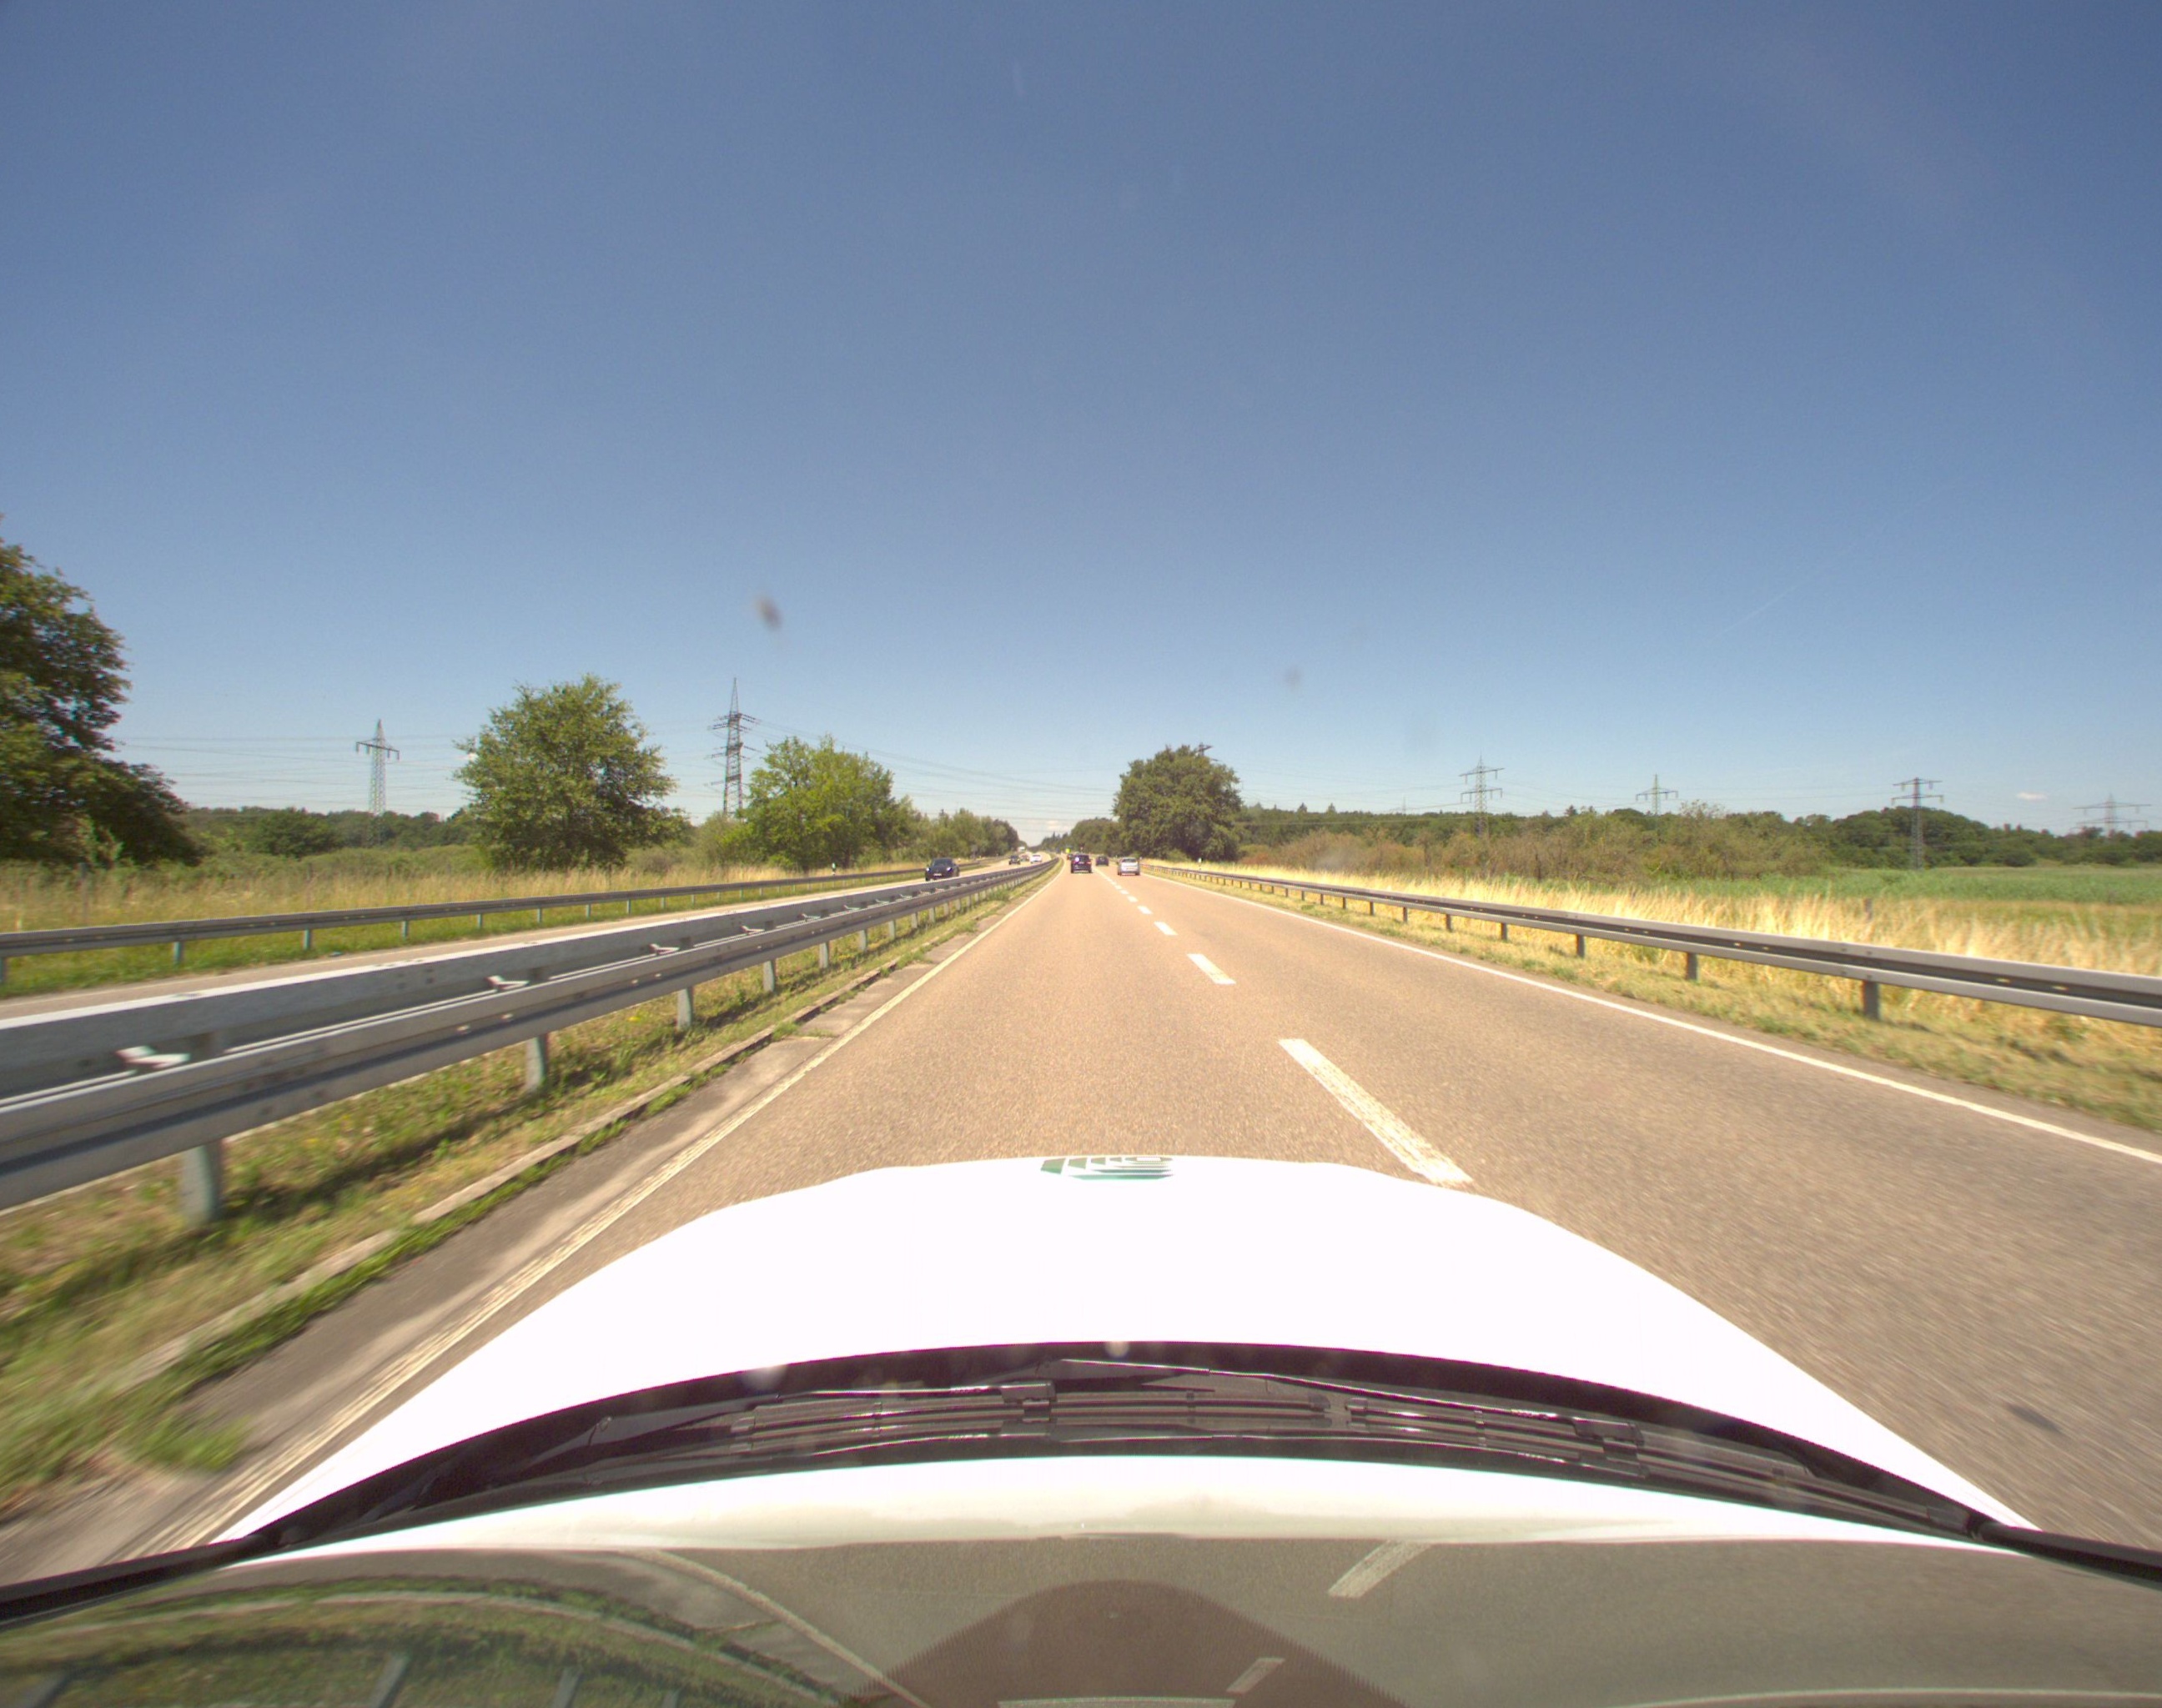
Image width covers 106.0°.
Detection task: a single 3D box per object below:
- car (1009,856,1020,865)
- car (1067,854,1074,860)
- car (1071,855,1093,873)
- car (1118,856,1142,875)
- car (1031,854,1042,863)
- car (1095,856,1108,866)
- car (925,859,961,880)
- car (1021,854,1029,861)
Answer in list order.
[{"bbox_3d":[-11.150,1.011,135.719,1.609,1.475,3.065,0,0,-1],"label":"car"},{"bbox_3d":[-2.377,0.760,192.170,1.509,1.475,3.067,0,0,1],"label":"car"},{"bbox_3d":[0.122,0.908,75.341,1.986,1.654,4.001,0,0,1],"label":"car"},{"bbox_3d":[3.972,0.946,66.540,1.772,1.479,4.316,0,0,1],"label":"car"},{"bbox_3d":[-8.052,0.821,147.693,1.989,1.662,3.996,0,0,-3],"label":"car"},{"bbox_3d":[2.930,0.948,114.532,1.813,1.414,4.001,0,0,2],"label":"car"},{"bbox_3d":[-9.813,1.092,58.096,1.824,1.475,3.685,0,0,2],"label":"car"},{"bbox_3d":[-12.320,0.873,179.586,1.510,1.475,3.066,2,0,0],"label":"car"}]
